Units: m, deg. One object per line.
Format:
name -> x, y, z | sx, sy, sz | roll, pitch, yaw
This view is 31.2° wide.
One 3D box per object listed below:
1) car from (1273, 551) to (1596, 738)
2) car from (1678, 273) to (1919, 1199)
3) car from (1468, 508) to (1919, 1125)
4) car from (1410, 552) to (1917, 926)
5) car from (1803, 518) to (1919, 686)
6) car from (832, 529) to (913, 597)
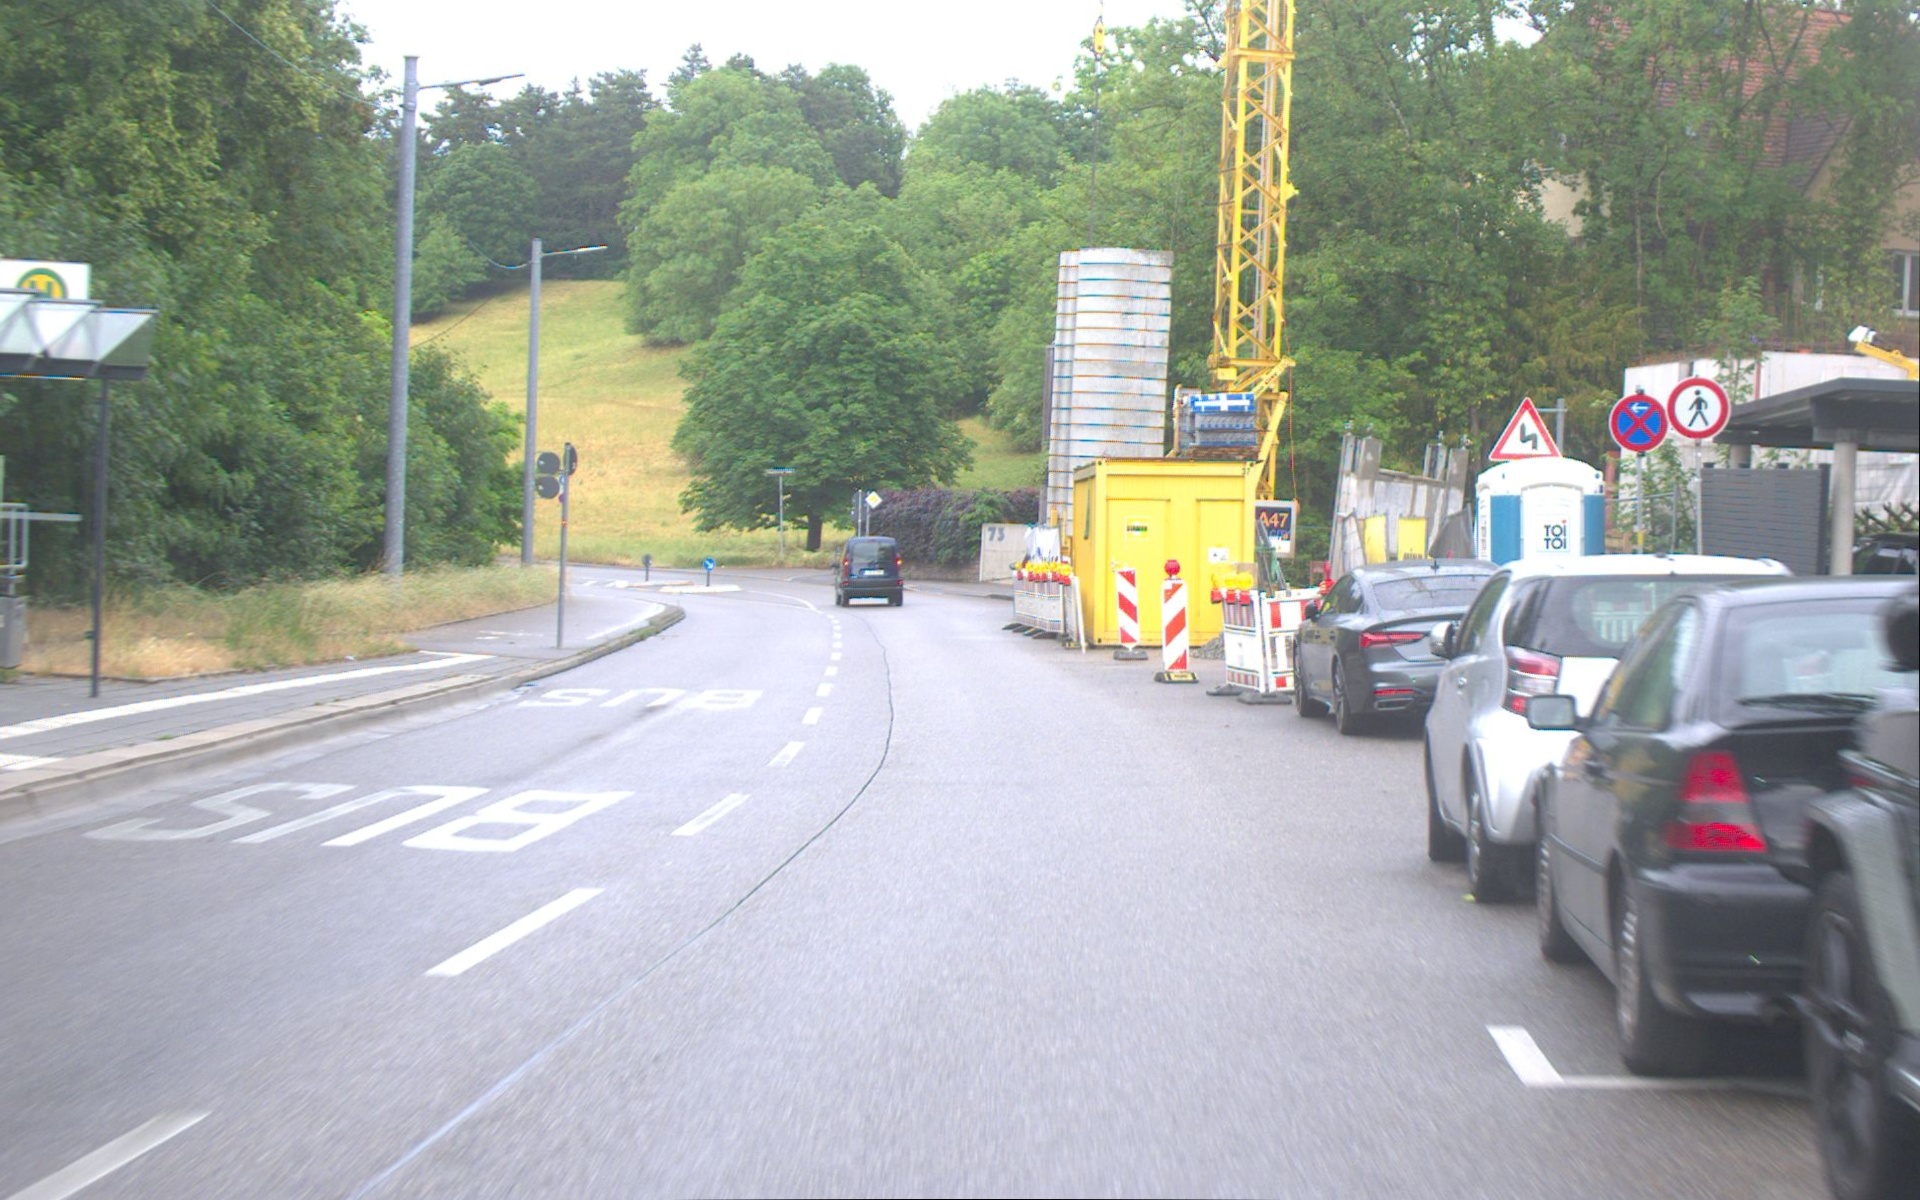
car -> 3.970, 0.316, 29.579 | 1.931, 1.417, 4.838 | 1, 1, -2
car -> 2.684, 0.421, 5.966 | 1.993, 2.007, 4.956 | -1, 1, 2
car -> 2.743, 0.530, 11.046 | 1.932, 1.590, 4.394 | -1, 1, 5
car -> 2.990, 0.523, 15.228 | 1.673, 1.452, 3.385 | 0, 1, 3
car -> 9.189, 0.042, 32.077 | 1.695, 1.467, 4.000 | 4, 1, 2
car -> -2.352, -0.987, 91.572 | 1.931, 1.745, 4.001 | 0, 1, -5
